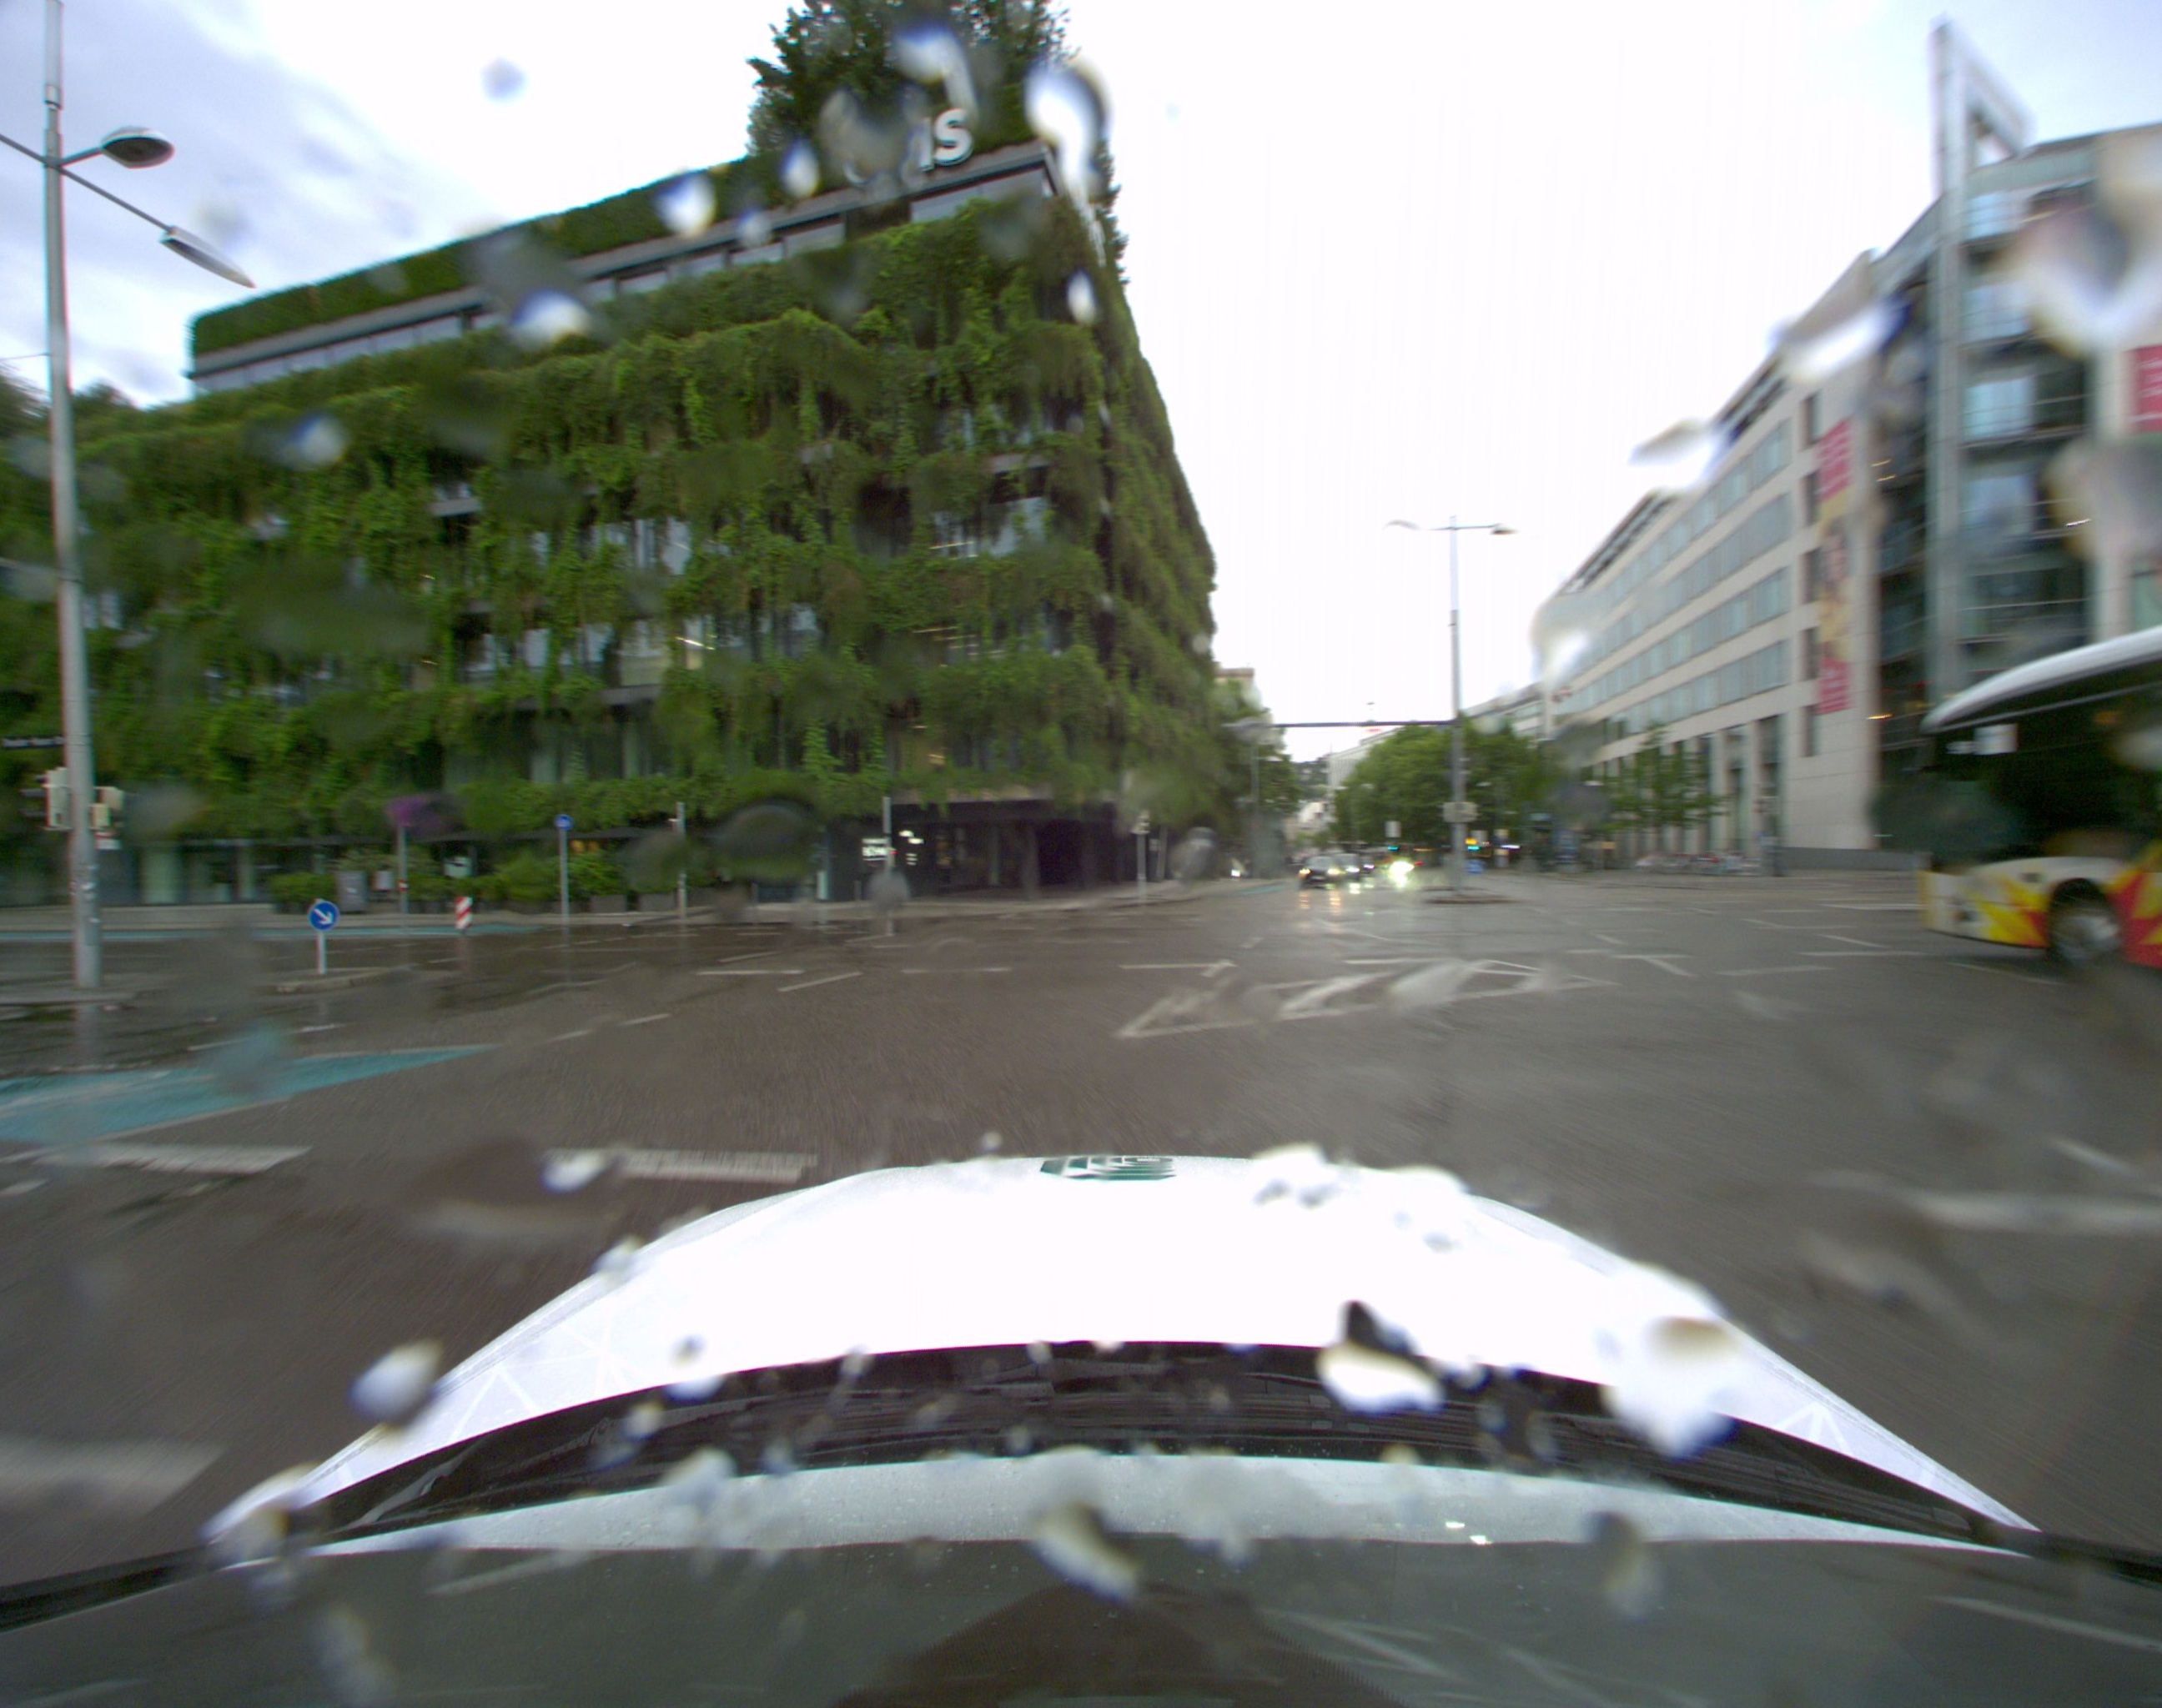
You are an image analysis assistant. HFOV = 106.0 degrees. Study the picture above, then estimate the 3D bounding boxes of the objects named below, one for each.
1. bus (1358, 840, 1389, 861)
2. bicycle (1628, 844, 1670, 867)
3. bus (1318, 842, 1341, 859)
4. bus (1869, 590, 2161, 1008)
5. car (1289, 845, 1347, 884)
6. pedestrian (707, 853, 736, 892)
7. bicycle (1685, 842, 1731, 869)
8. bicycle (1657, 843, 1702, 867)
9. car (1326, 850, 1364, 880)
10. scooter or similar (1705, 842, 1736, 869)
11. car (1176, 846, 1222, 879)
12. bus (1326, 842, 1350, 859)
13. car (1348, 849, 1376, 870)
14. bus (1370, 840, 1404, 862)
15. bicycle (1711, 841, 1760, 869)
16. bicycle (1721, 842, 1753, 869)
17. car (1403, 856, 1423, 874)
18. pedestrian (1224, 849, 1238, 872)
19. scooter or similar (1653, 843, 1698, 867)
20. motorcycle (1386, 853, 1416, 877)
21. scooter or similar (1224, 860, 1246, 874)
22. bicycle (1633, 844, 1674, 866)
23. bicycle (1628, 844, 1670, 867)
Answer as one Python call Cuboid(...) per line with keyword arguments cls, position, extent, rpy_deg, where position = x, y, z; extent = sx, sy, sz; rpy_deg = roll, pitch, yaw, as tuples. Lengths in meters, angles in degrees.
Cuboid(cls="bus", position=(44.756, -0.538, 124.865), extent=(2.615, 2.995, 7.460), rpy_deg=(-1, 0, 5))
Cuboid(cls="bicycle", position=(31.051, 0.078, 44.537), extent=(1.762, 1.194, 0.590), rpy_deg=(-1, -1, 22))
Cuboid(cls="bus", position=(46.677, -0.659, 153.348), extent=(2.615, 2.995, 7.460), rpy_deg=(-1, 0, 5))
Cuboid(cls="bus", position=(10.092, -0.462, 5.793), extent=(2.858, 3.450, 9.808), rpy_deg=(-1, 0, 21))
Cuboid(cls="car", position=(11.699, 0.505, 39.918), extent=(2.145, 1.765, 5.139), rpy_deg=(-1, 0, 23))
Cuboid(cls="pedestrian", position=(-12.187, 0.618, 27.602), extent=(0.609, 1.311, 0.601), rpy_deg=(-1, 0, 15))
Cuboid(cls="bicycle", position=(29.058, 0.078, 37.758), extent=(0.584, 1.194, 1.779), rpy_deg=(-1, 0, -7))
Cuboid(cls="bicycle", position=(31.239, 0.068, 42.535), extent=(1.762, 1.194, 0.590), rpy_deg=(-1, -1, 22))
Cuboid(cls="car", position=(16.833, 0.668, 52.034), extent=(2.147, 1.765, 5.135), rpy_deg=(-1, 0, 18))
Cuboid(cls="scooter or similar", position=(28.057, 0.064, 35.731), extent=(0.456, 1.194, 0.954), rpy_deg=(0, -1, -29))
Cuboid(cls="car", position=(6.997, 0.493, 47.990), extent=(1.854, 1.839, 4.020), rpy_deg=(-1, 0, 20))
Cuboid(cls="bus", position=(46.001, -0.638, 145.992), extent=(2.615, 2.995, 7.338), rpy_deg=(-1, 0, 5))
Cuboid(cls="car", position=(24.600, 0.460, 71.343), extent=(2.147, 1.765, 5.135), rpy_deg=(-1, 0, 18))
Cuboid(cls="bus", position=(44.062, -0.486, 117.463), extent=(2.615, 2.995, 7.460), rpy_deg=(-1, 0, 5))
Cuboid(cls="bicycle", position=(29.005, 0.062, 36.115), extent=(0.590, 1.194, 1.607), rpy_deg=(0, -1, -44))
Cuboid(cls="bicycle", position=(30.470, 0.059, 37.833), extent=(1.789, 1.194, 0.580), rpy_deg=(-1, -1, -32))
Cuboid(cls="car", position=(38.878, 1.234, 95.324), extent=(1.529, 2.014, 4.697), rpy_deg=(-1, 0, 31))
Cuboid(cls="pedestrian", position=(11.074, 0.479, 60.068), extent=(0.926, 1.644, 0.778), rpy_deg=(-1, -1, 20))
Cuboid(cls="scooter or similar", position=(30.686, 0.073, 42.072), extent=(1.762, 1.194, 0.590), rpy_deg=(-1, -1, 22))
Cuboid(cls="motorcycle", position=(21.347, 0.722, 54.415), extent=(1.539, 1.515, 4.404), rpy_deg=(-1, 0, 18))
Cuboid(cls="scooter or similar", position=(11.648, 0.981, 61.502), extent=(1.666, 1.004, 0.618), rpy_deg=(-1, 0, -32))
Cuboid(cls="bicycle", position=(31.779, 0.071, 45.251), extent=(1.762, 1.194, 0.590), rpy_deg=(-1, -1, 22))
Cuboid(cls="bicycle", position=(30.685, 0.081, 43.992), extent=(1.762, 1.194, 0.590), rpy_deg=(-1, -1, 22))
